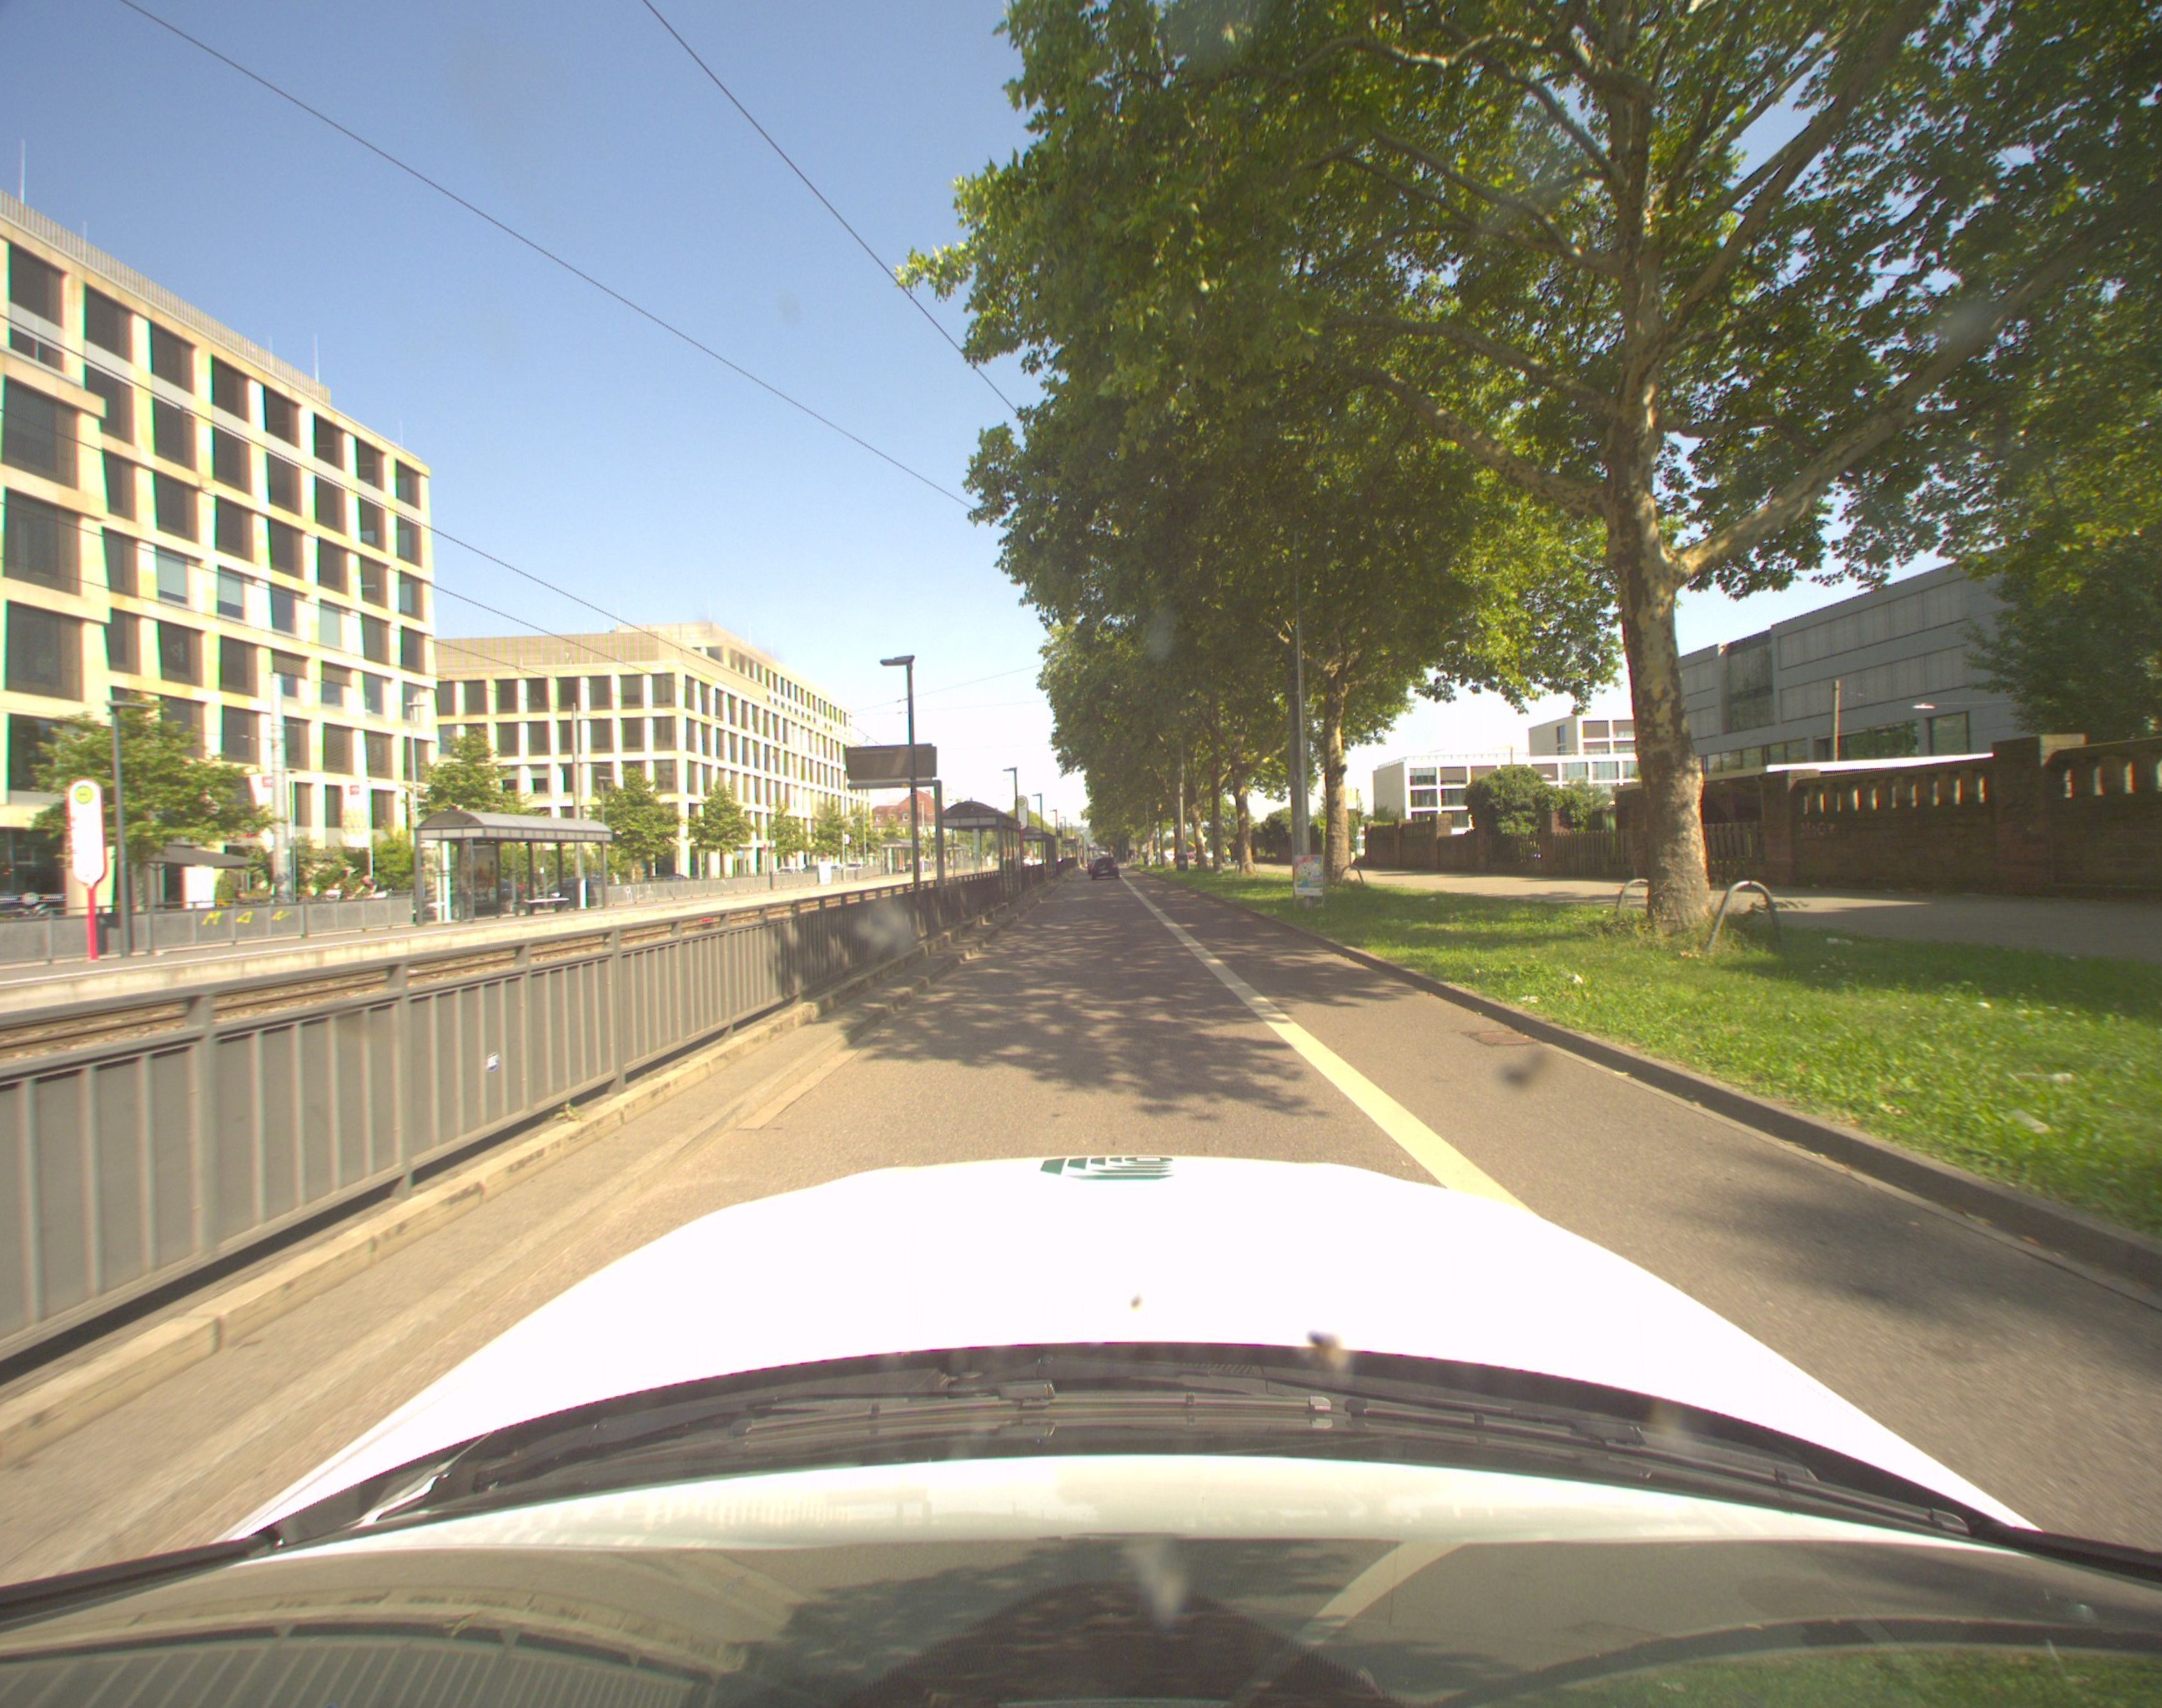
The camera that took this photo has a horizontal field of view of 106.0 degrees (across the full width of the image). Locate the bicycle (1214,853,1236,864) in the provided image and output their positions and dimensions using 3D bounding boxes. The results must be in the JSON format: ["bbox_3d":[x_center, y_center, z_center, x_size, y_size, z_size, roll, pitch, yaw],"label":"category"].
[{"bbox_3d":[15.633,0.510,88.378,2.167,1.076,0.743,-2,-1,-1],"label":"bicycle"}]

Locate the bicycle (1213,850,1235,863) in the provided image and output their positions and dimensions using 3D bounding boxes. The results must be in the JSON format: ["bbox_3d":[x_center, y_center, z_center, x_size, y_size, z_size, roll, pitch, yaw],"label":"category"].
[{"bbox_3d":[16.331,0.312,92.897,2.236,1.277,0.999,-4,-2,0],"label":"bicycle"}]

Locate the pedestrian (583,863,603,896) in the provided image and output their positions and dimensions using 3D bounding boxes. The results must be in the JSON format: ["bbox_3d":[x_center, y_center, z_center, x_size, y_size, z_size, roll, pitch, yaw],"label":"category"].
[{"bbox_3d":[-30.495,1.608,50.877,0.561,2.013,0.822,-5,-2,1],"label":"pedestrian"}]

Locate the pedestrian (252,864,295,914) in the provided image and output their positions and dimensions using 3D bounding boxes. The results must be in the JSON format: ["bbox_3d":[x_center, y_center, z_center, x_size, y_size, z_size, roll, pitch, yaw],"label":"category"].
[{"bbox_3d":[-32.307,1.382,32.590,0.792,1.917,0.837,-5,-2,-5],"label":"pedestrian"}]

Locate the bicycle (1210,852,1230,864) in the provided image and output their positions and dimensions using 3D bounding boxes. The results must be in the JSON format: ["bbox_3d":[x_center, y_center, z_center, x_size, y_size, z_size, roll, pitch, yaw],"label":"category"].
[{"bbox_3d":[15.609,0.454,91.407,2.163,1.076,0.744,-5,-1,4],"label":"bicycle"}]

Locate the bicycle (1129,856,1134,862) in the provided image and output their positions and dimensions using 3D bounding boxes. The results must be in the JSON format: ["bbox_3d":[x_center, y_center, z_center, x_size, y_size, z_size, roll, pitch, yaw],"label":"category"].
[{"bbox_3d":[9.643,0.929,156.509,0.609,1.022,2.400,-2,0,-3],"label":"bicycle"}]

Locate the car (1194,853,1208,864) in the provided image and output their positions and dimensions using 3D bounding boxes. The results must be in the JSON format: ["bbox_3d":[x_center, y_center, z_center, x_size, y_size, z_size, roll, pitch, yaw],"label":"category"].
[{"bbox_3d":[18.950,0.721,128.689,1.602,1.575,3.798,-3,0,2],"label":"car"}]

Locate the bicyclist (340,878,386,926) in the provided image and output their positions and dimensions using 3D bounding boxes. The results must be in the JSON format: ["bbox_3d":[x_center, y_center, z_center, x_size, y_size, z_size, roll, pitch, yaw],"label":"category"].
[{"bbox_3d":[-22.420,1.483,25.434,0.627,1.402,0.784,-5,-2,0],"label":"bicyclist"}]

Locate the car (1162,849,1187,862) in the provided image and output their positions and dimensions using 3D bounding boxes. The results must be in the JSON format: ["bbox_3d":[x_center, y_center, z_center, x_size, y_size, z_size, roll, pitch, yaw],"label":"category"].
[{"bbox_3d":[16.127,0.308,140.880,4.085,1.918,1.850,-4,-1,4],"label":"car"}]

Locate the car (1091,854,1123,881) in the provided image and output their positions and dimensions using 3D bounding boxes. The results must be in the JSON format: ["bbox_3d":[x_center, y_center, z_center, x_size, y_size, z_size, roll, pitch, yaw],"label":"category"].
[{"bbox_3d":[1.645,0.843,52.592,1.901,1.537,4.000,-4,0,1],"label":"car"}]

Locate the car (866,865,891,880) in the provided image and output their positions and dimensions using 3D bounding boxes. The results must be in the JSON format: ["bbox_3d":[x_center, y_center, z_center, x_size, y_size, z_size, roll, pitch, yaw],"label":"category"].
[{"bbox_3d":[-23.205,2.097,93.620,1.758,1.603,4.131,-3,0,0],"label":"car"}]

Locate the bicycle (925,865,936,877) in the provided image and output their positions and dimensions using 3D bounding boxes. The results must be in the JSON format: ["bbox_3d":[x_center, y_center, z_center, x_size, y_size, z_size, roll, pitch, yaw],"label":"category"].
[{"bbox_3d":[-15.495,1.757,83.790,0.467,1.147,1.490,-2,-1,16],"label":"bicycle"}]

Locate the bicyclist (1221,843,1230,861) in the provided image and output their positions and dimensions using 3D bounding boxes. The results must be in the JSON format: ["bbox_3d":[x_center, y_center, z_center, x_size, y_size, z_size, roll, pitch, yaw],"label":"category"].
[{"bbox_3d":[12.032,-0.145,67.694,0.546,1.453,0.842,-2,0,1],"label":"bicyclist"}]

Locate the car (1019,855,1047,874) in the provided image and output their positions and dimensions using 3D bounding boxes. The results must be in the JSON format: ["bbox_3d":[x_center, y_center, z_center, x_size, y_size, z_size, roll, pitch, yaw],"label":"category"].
[{"bbox_3d":[-4.215,0.926,72.134,1.986,1.559,4.002,-2,0,2],"label":"car"}]

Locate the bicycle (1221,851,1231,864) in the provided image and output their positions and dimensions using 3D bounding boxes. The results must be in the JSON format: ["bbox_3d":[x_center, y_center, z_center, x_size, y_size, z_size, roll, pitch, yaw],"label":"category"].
[{"bbox_3d":[12.043,0.284,67.733,0.546,1.007,1.714,-2,0,2],"label":"bicycle"}]

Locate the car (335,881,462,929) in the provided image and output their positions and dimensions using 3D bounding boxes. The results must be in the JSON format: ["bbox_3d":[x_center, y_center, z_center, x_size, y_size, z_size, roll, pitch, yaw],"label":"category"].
[{"bbox_3d":[-24.120,1.749,28.939,1.549,1.428,3.503,-3,0,-1],"label":"car"}]

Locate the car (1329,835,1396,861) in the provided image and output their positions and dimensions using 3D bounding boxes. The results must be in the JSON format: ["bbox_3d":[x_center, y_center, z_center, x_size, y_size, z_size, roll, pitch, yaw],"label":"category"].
[{"bbox_3d":[22.044,-0.451,63.861,4.508,1.734,1.909,-3,0,-1],"label":"car"}]

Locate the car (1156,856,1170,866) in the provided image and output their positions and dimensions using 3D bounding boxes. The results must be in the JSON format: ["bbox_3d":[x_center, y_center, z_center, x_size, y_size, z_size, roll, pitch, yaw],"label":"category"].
[{"bbox_3d":[12.850,1.138,127.576,1.721,1.448,4.552,-3,0,2],"label":"car"}]

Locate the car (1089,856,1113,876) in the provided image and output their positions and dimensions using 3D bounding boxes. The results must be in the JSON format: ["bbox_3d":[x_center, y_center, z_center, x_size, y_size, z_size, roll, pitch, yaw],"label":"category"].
[{"bbox_3d":[1.734,1.032,72.804,1.967,1.537,4.000,-6,0,0],"label":"car"}]
